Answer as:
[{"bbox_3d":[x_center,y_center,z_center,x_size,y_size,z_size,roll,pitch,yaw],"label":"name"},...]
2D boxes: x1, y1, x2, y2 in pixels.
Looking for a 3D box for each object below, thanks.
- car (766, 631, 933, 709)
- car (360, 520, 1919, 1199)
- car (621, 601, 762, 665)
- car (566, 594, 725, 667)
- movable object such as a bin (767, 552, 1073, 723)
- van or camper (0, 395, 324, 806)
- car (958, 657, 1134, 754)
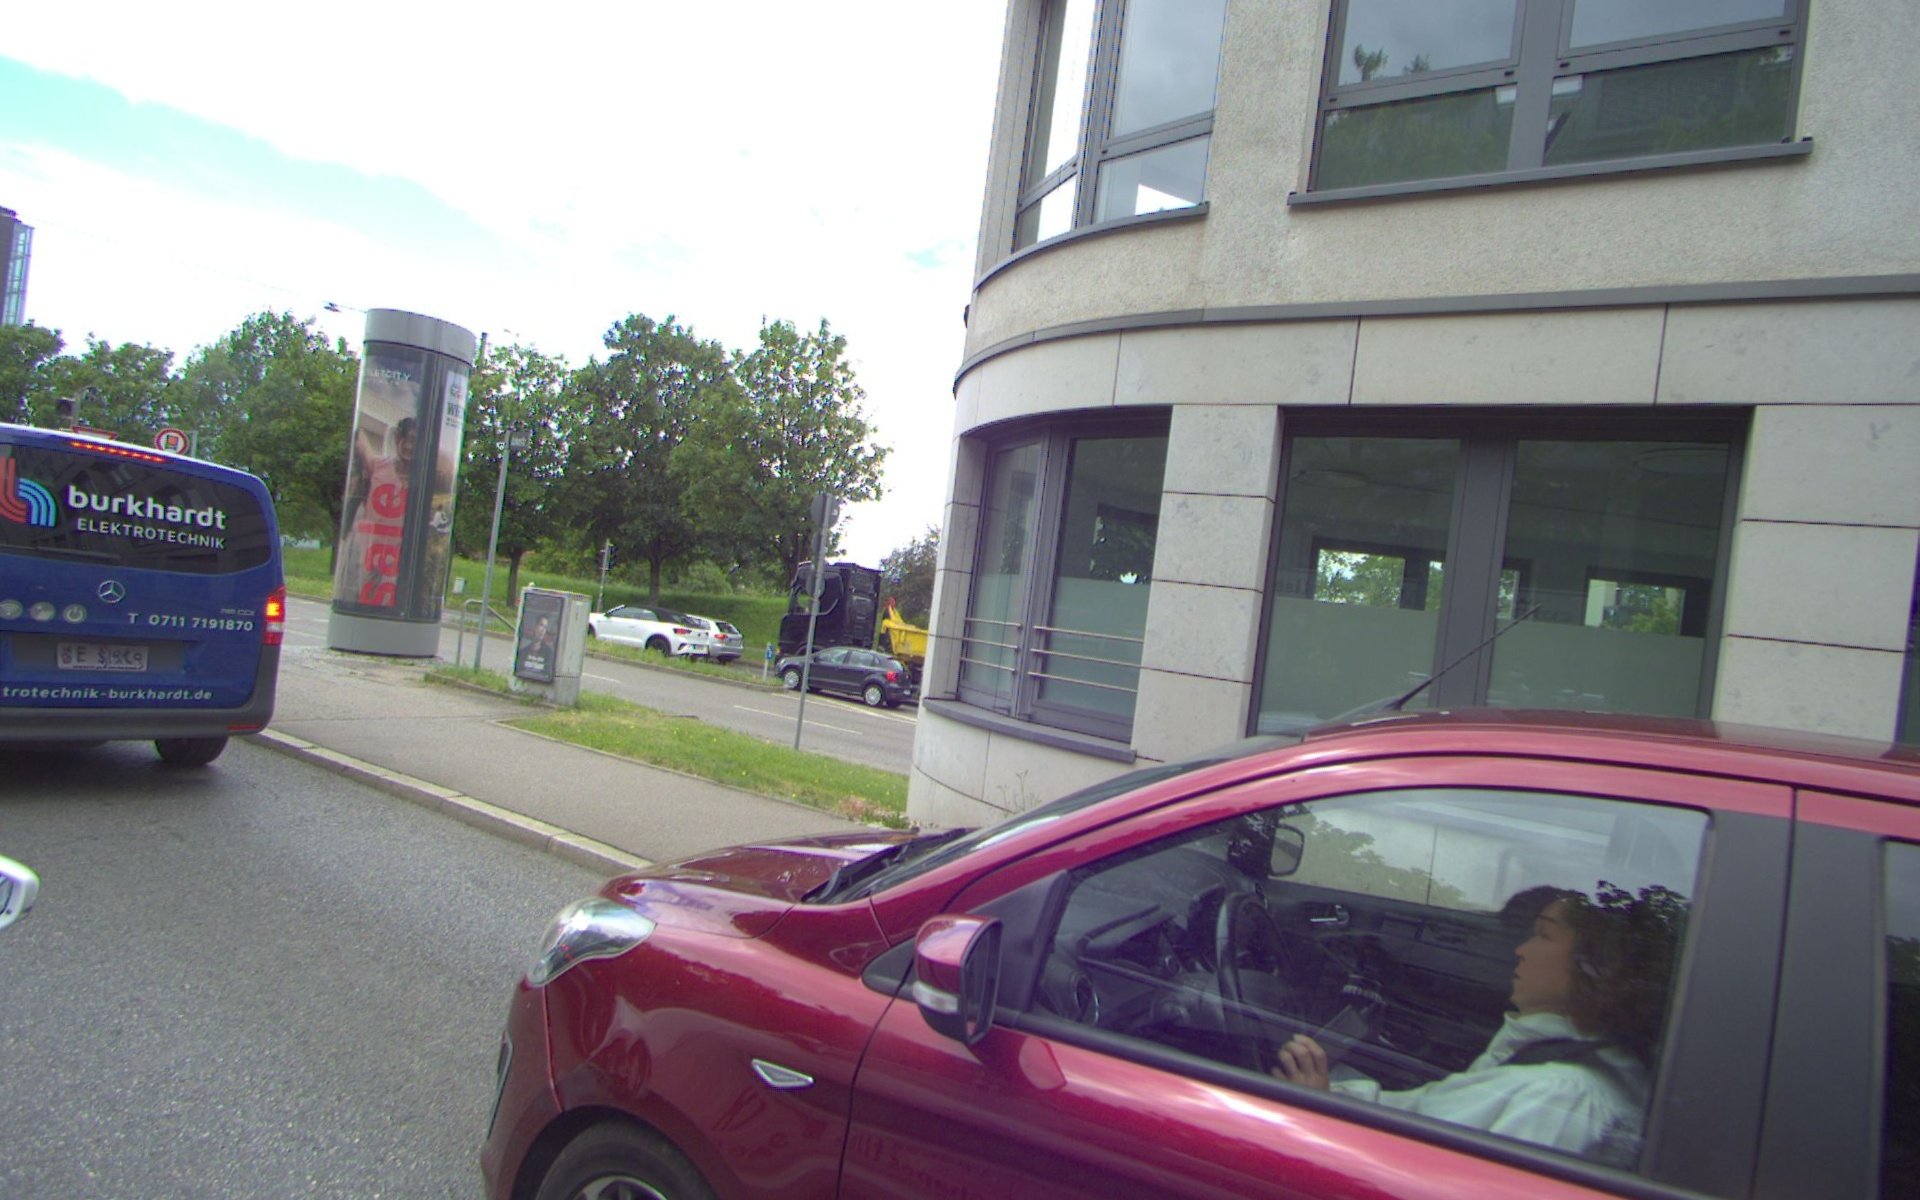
[{"bbox_3d":[-3.008,1.935,27.604,3.925,1.469,2.003,8,-3,19],"label":"car"},{"bbox_3d":[1.007,0.905,1.840,3.933,1.509,1.890,7,-3,32],"label":"car"},{"bbox_3d":[-8.916,1.109,33.472,3.925,1.469,2.003,8,-3,19],"label":"car"},{"bbox_3d":[-9.307,0.921,29.844,3.925,1.469,2.003,8,-3,19],"label":"car"},{"bbox_3d":[-1.208,1.075,30.435,8.410,3.949,2.870,7,-1,18],"label":"movable object such as a bin"},{"bbox_3d":[-6.390,-0.191,6.392,4.949,1.934,1.862,7,-1,32],"label":"van or camper"},{"bbox_3d":[2.209,2.651,25.585,3.925,1.723,2.003,8,-3,19],"label":"car"}]
